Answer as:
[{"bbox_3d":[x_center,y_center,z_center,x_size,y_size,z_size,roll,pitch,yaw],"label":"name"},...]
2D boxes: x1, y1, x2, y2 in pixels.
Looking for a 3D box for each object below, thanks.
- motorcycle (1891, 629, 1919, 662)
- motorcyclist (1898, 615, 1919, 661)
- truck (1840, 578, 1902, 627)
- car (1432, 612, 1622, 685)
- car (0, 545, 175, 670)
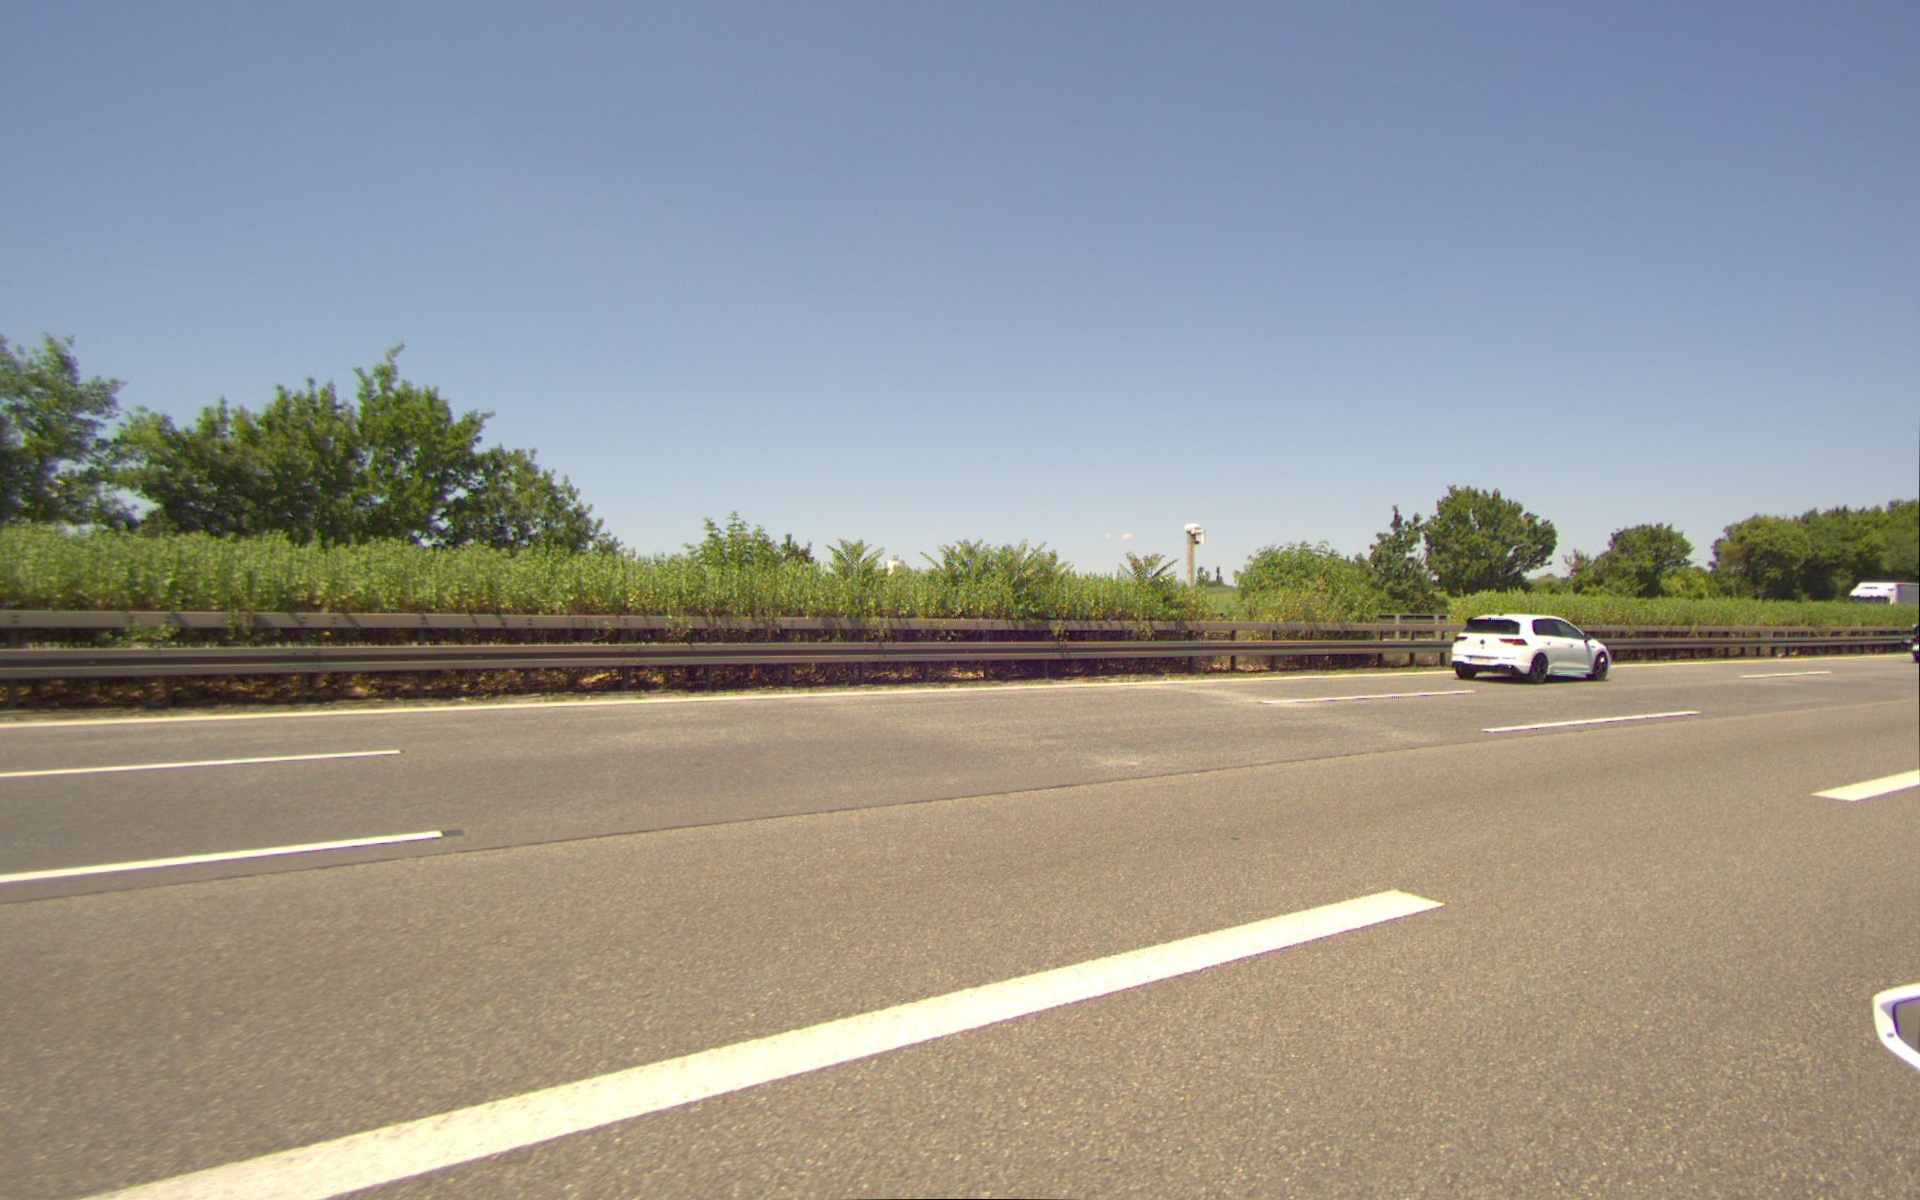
[{"bbox_3d":[33.887,1.600,35.401,2.818,1.103,0.908,1,-1,-32],"label":"motorcycle"},{"bbox_3d":[33.895,1.344,35.419,1.285,1.618,0.888,1,-1,-32],"label":"motorcyclist"},{"bbox_3d":[77.425,0.243,85.342,5.108,4.000,2.525,1,0,-31],"label":"truck"},{"bbox_3d":[12.682,1.049,22.383,4.618,1.459,1.771,2,-1,-33],"label":"car"},{"bbox_3d":[-16.629,0.110,17.242,4.679,2.040,2.596,1,0,-32],"label":"car"}]
